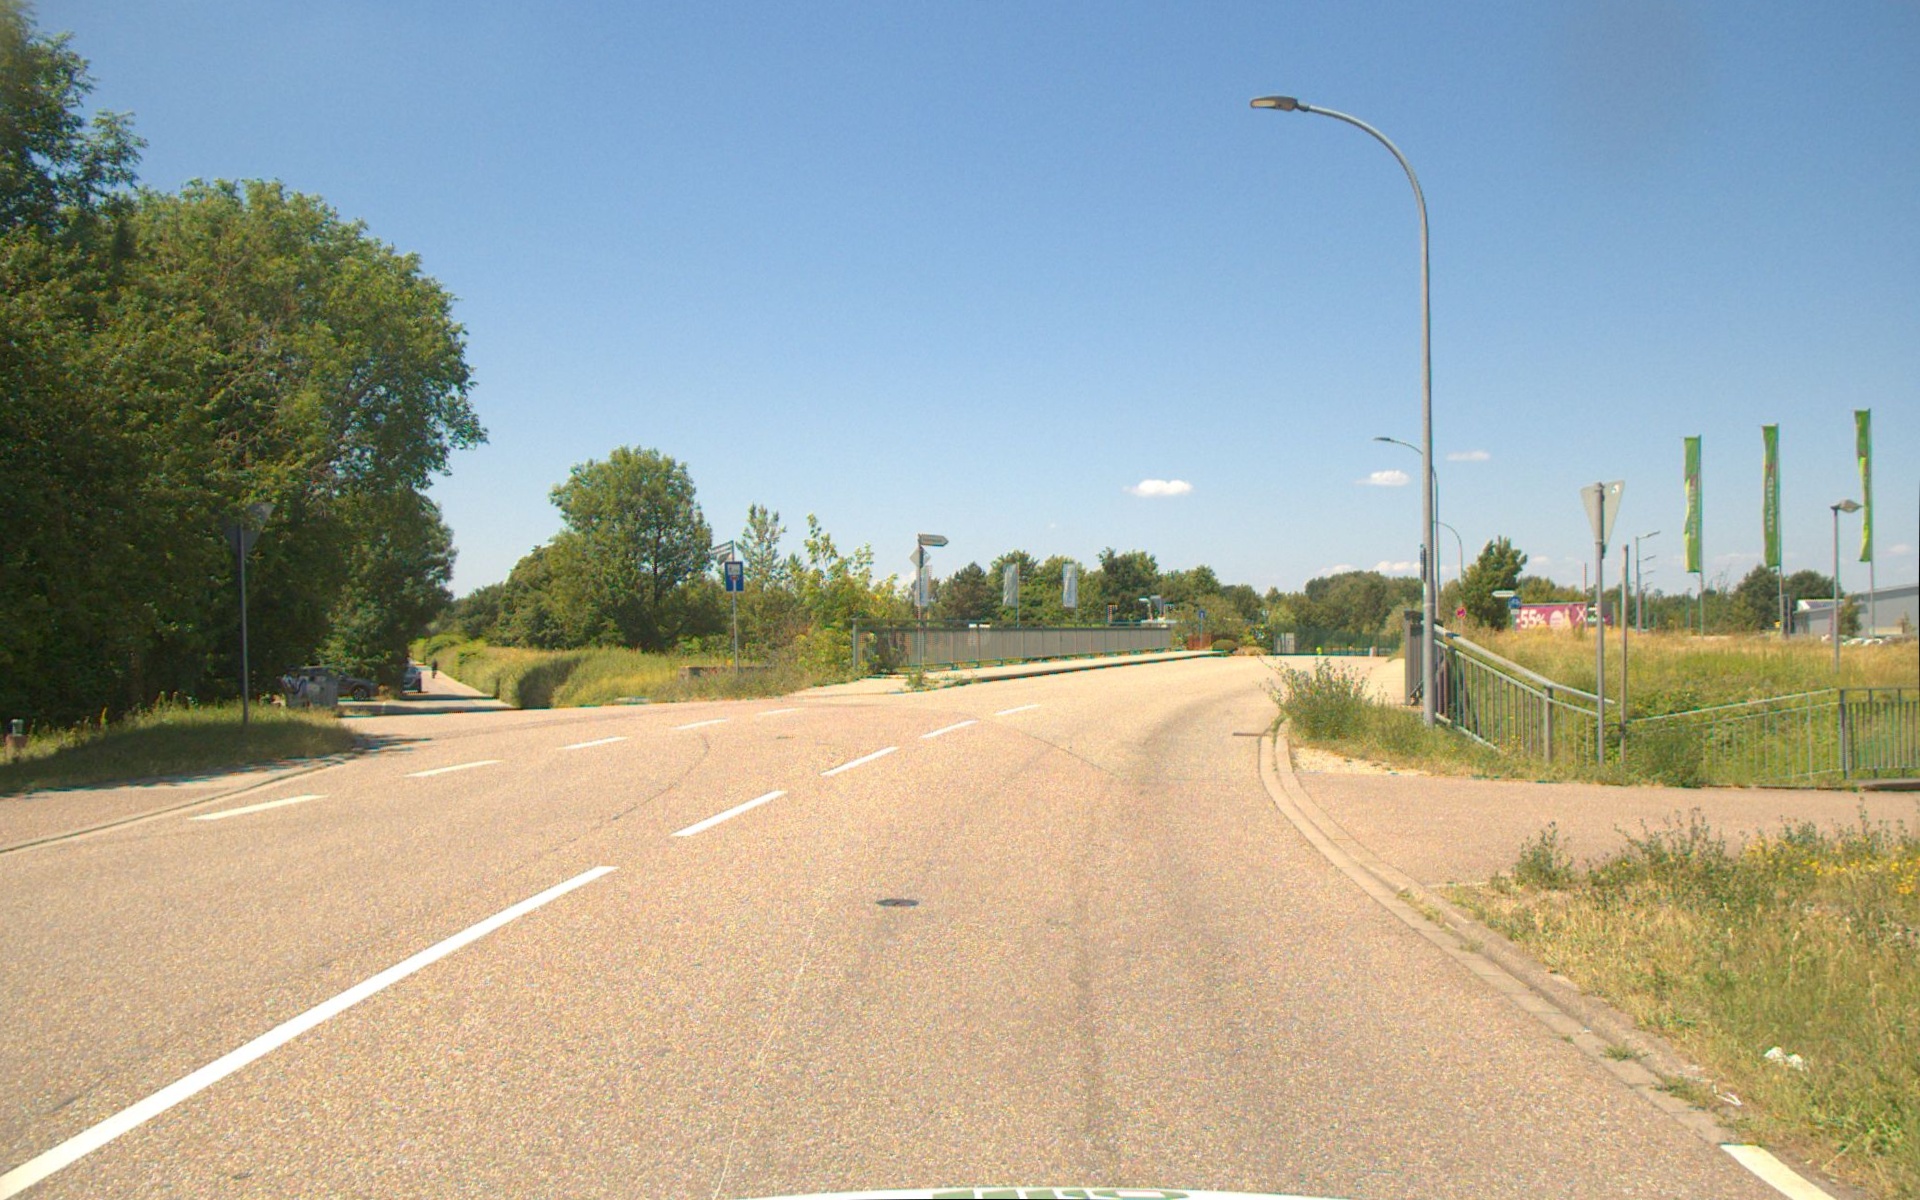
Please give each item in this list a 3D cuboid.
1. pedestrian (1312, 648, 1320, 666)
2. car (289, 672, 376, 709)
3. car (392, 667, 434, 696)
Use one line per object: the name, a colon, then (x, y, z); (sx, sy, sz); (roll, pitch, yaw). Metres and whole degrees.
pedestrian: (37.763, 6.045, 175.432); (0.593, 1.871, 0.804); (-2, -3, 25)
car: (-30.821, 4.420, 81.199); (3.932, 1.598, 1.986); (-1, -1, -23)
car: (-33.028, 4.881, 99.743); (1.968, 1.624, 3.968); (-1, -2, -25)
